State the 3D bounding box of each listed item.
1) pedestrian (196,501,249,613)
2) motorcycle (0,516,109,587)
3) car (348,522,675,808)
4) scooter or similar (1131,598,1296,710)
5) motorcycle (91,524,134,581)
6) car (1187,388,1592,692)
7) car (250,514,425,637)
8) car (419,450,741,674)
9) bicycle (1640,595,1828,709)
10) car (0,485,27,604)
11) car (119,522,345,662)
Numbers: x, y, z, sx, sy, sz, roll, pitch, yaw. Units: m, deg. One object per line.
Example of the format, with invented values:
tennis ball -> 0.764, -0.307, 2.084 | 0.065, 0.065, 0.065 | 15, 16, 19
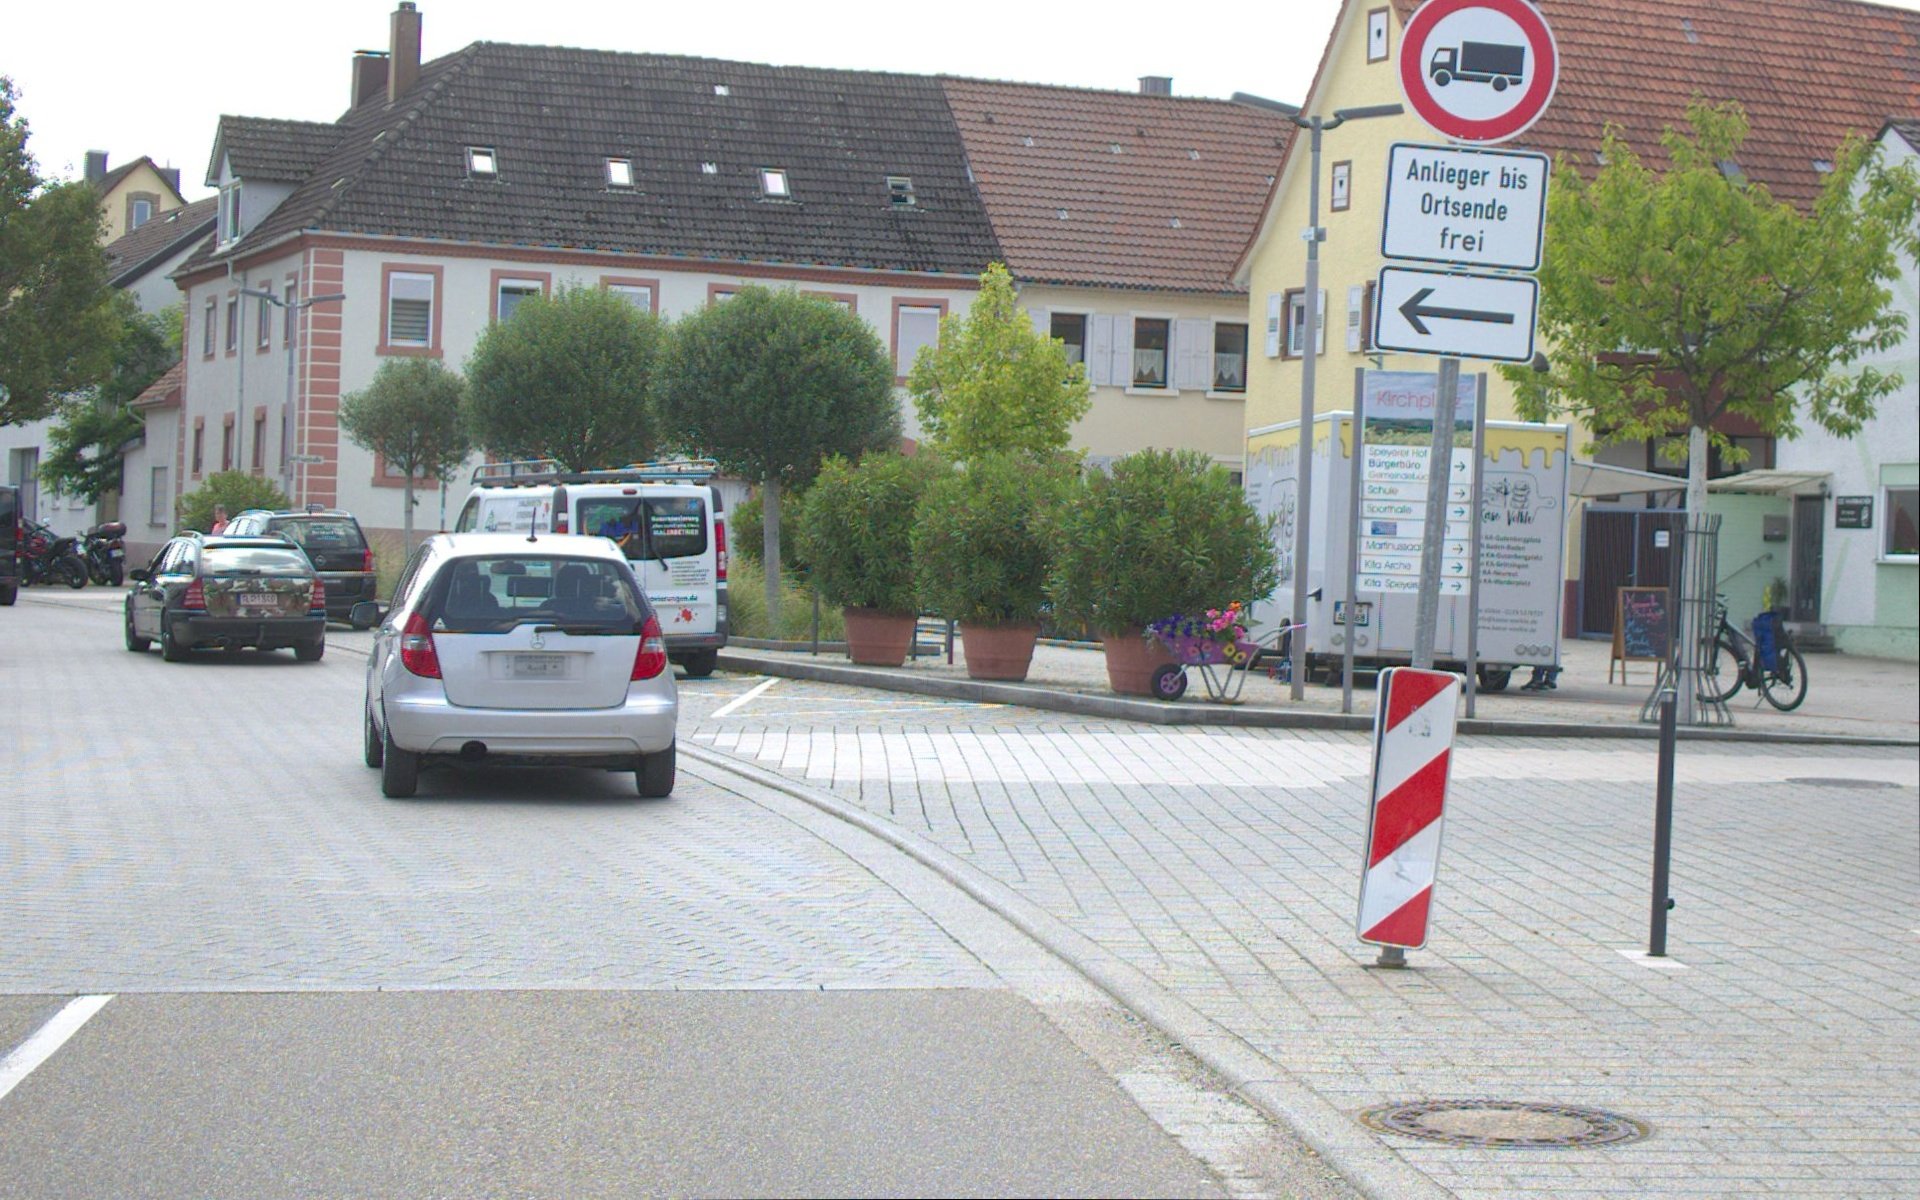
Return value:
pedestrian -> -10.910, -0.636, 50.852 | 0.638, 1.623, 0.620 | 1, 1, -21
motorcycle -> -18.082, -0.963, 68.146 | 2.220, 1.390, 0.872 | 1, 1, 19
car -> -2.946, 0.339, 21.923 | 1.768, 1.589, 4.001 | 2, 1, -11
scooter or similar -> 2.106, 0.446, 28.649 | 1.141, 0.878, 0.816 | 1, 1, -14
motorcycle -> -17.357, -0.978, 70.386 | 0.523, 1.119, 1.068 | 2, 1, -31
car -> 4.604, -0.640, 38.423 | 2.752, 2.953, 7.115 | 3, 0, -7
car -> -8.568, -0.366, 47.089 | 1.768, 1.559, 4.420 | 1, 1, -18
car -> -4.082, -0.455, 36.115 | 1.942, 2.170, 5.102 | -1, 2, -24
bicycle -> 7.995, 0.522, 35.593 | 0.754, 1.064, 2.112 | 2, 1, -24
car -> -16.752, -0.982, 56.990 | 1.768, 1.881, 4.448 | 4, -1, -23
car -> -8.215, -0.123, 38.546 | 1.944, 1.402, 4.001 | 2, 1, -19
